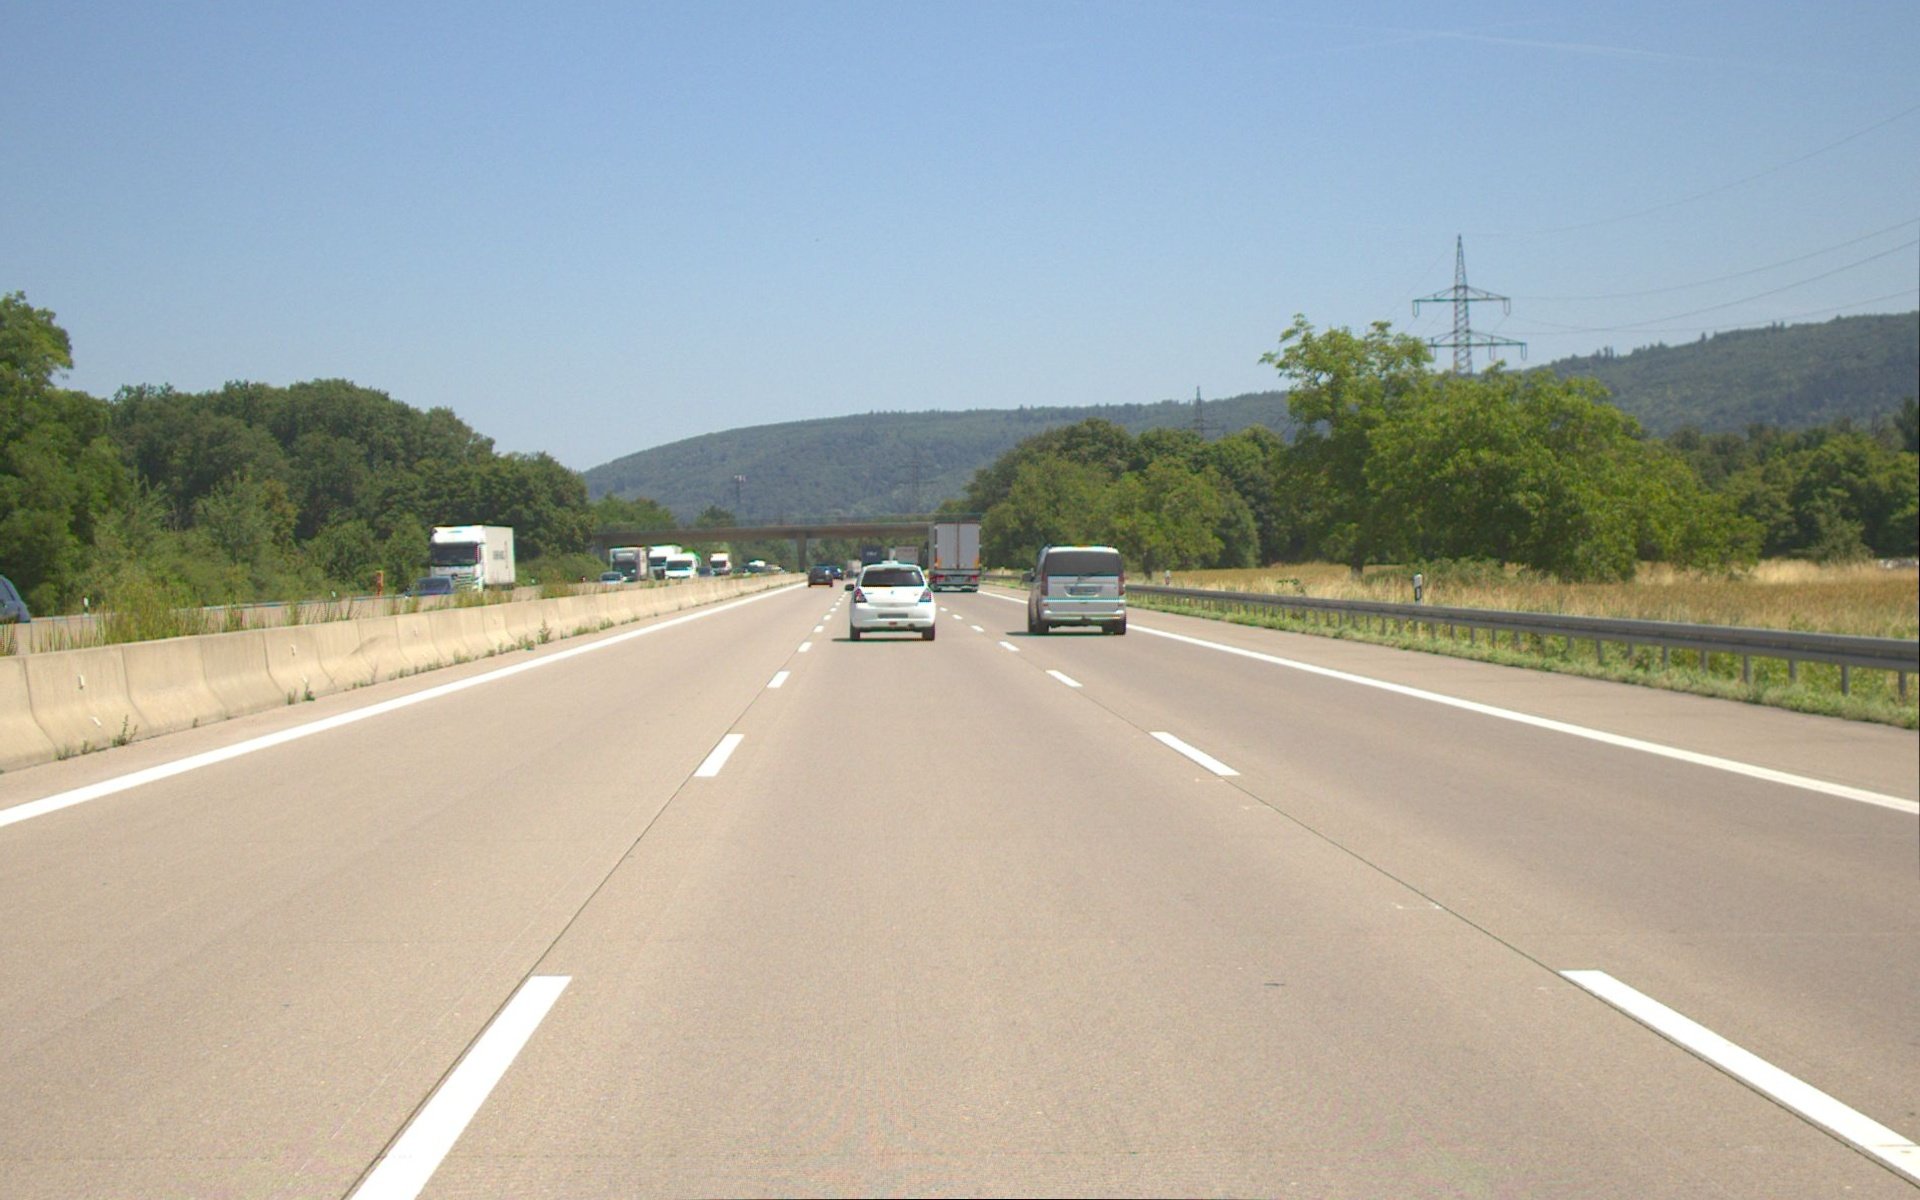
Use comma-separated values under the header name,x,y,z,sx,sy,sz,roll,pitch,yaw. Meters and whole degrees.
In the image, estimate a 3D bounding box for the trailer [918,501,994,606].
name,x,y,z,sx,sy,sz,roll,pitch,yaw
trailer,-0.309,-2.664,195.460,3.720,5.791,12.163,0,1,-3

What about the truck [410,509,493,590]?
name,x,y,z,sx,sy,sz,roll,pitch,yaw
truck,-25.318,-2.523,171.515,3.161,3.895,8.373,0,1,-2

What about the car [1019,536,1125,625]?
name,x,y,z,sx,sy,sz,roll,pitch,yaw
car,2.380,-0.431,74.108,1.993,1.842,4.000,1,1,-2

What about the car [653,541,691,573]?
name,x,y,z,sx,sy,sz,roll,pitch,yaw
car,-18.450,-2.771,220.345,2.068,2.007,5.981,0,1,-2

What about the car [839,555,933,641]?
name,x,y,z,sx,sy,sz,roll,pitch,yaw
car,-1.504,-0.067,68.908,1.819,1.656,4.000,0,1,-2

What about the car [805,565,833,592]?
name,x,y,z,sx,sy,sz,roll,pitch,yaw
car,-9.870,-1.507,240.949,1.928,1.787,4.000,0,1,-2

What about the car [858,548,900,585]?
name,x,y,z,sx,sy,sz,roll,pitch,yaw
car,-4.215,-1.742,178.539,1.993,1.842,4.001,2,1,-3

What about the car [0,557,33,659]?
name,x,y,z,sx,sy,sz,roll,pitch,yaw
car,-18.356,0.139,62.523,1.993,1.831,4.817,0,1,-4
